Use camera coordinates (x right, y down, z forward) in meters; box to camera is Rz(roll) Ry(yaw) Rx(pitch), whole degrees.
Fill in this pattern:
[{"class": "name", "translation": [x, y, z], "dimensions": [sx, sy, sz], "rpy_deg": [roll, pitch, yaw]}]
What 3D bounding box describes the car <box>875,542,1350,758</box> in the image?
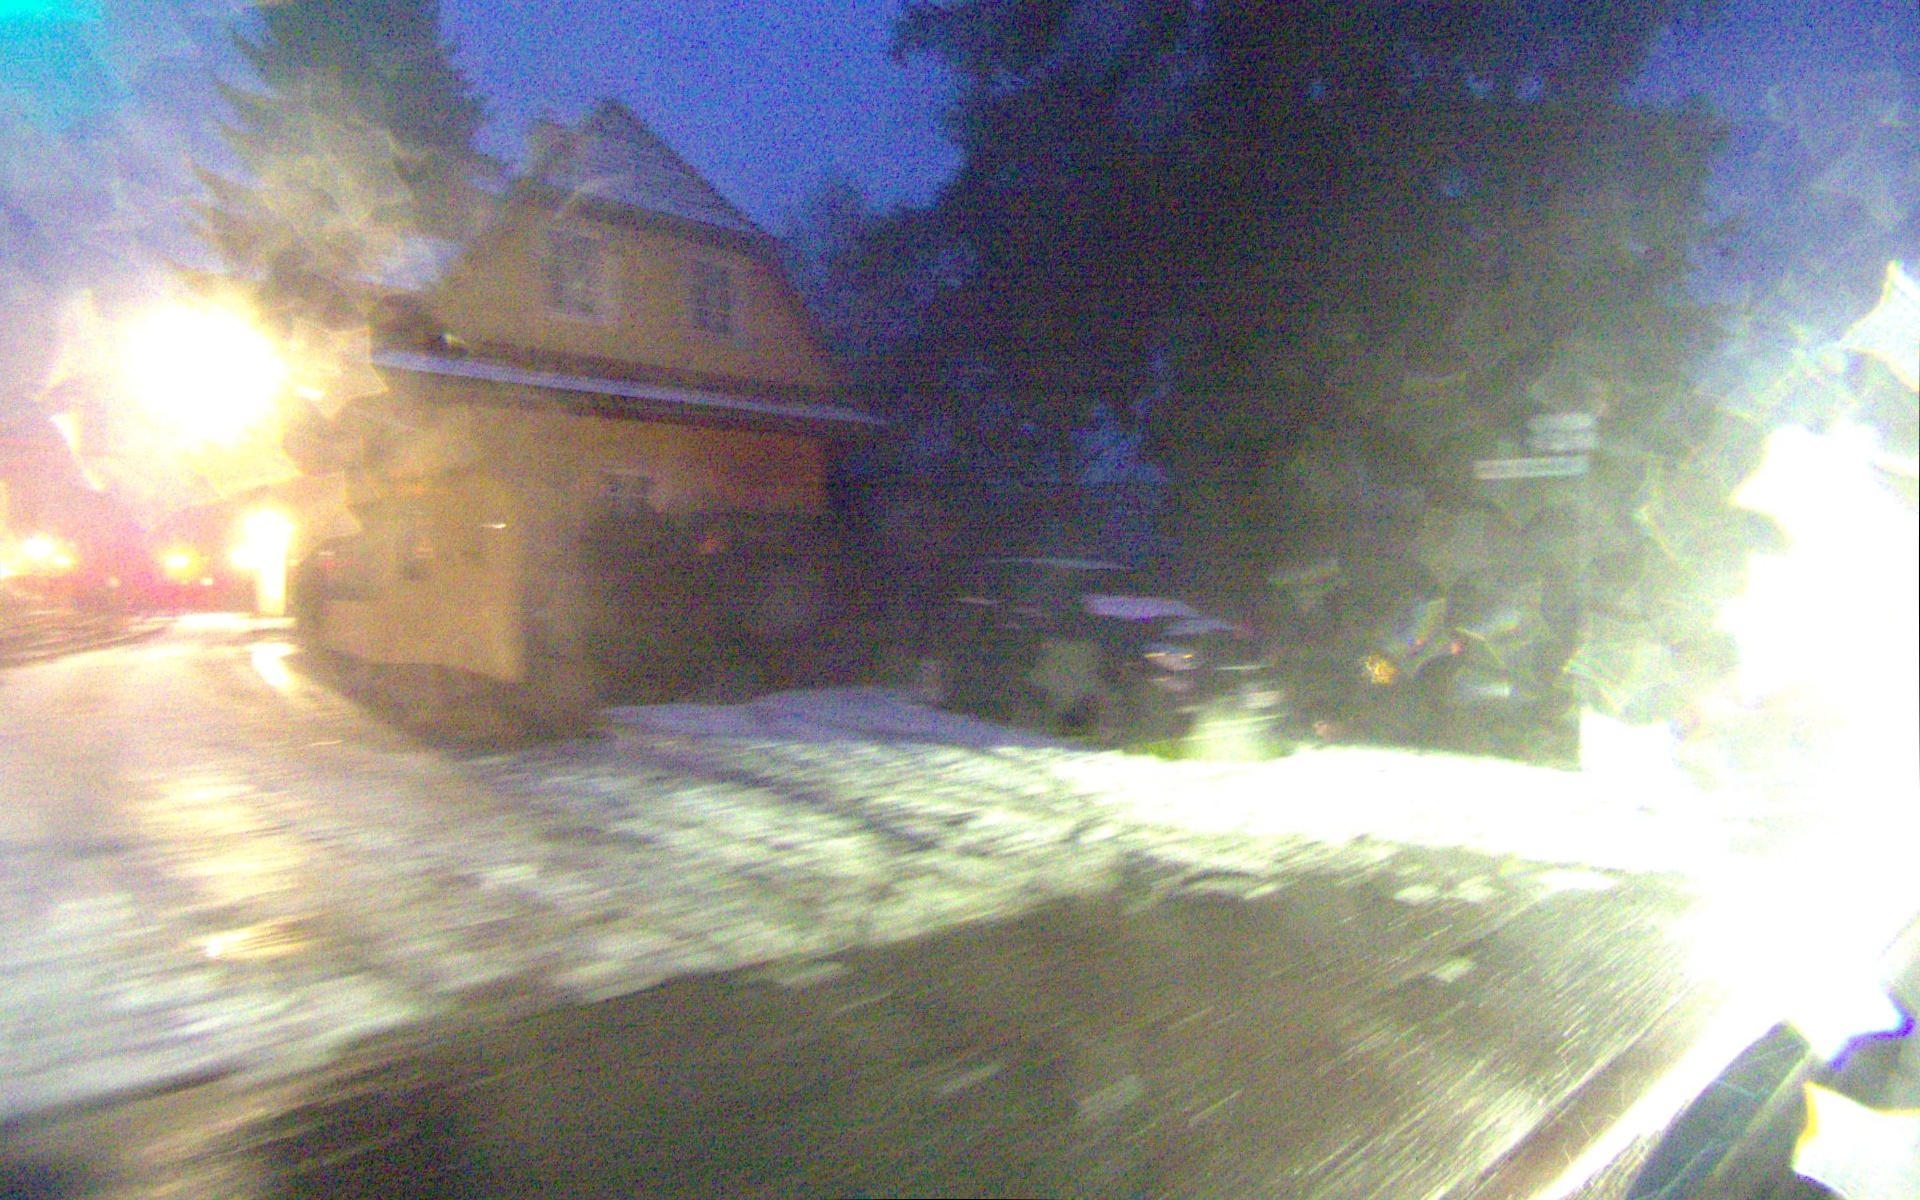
[{"class": "car", "translation": [1.218, 0.287, 9.915], "dimensions": [1.904, 1.606, 4.480], "rpy_deg": [1, 2, -38]}]
